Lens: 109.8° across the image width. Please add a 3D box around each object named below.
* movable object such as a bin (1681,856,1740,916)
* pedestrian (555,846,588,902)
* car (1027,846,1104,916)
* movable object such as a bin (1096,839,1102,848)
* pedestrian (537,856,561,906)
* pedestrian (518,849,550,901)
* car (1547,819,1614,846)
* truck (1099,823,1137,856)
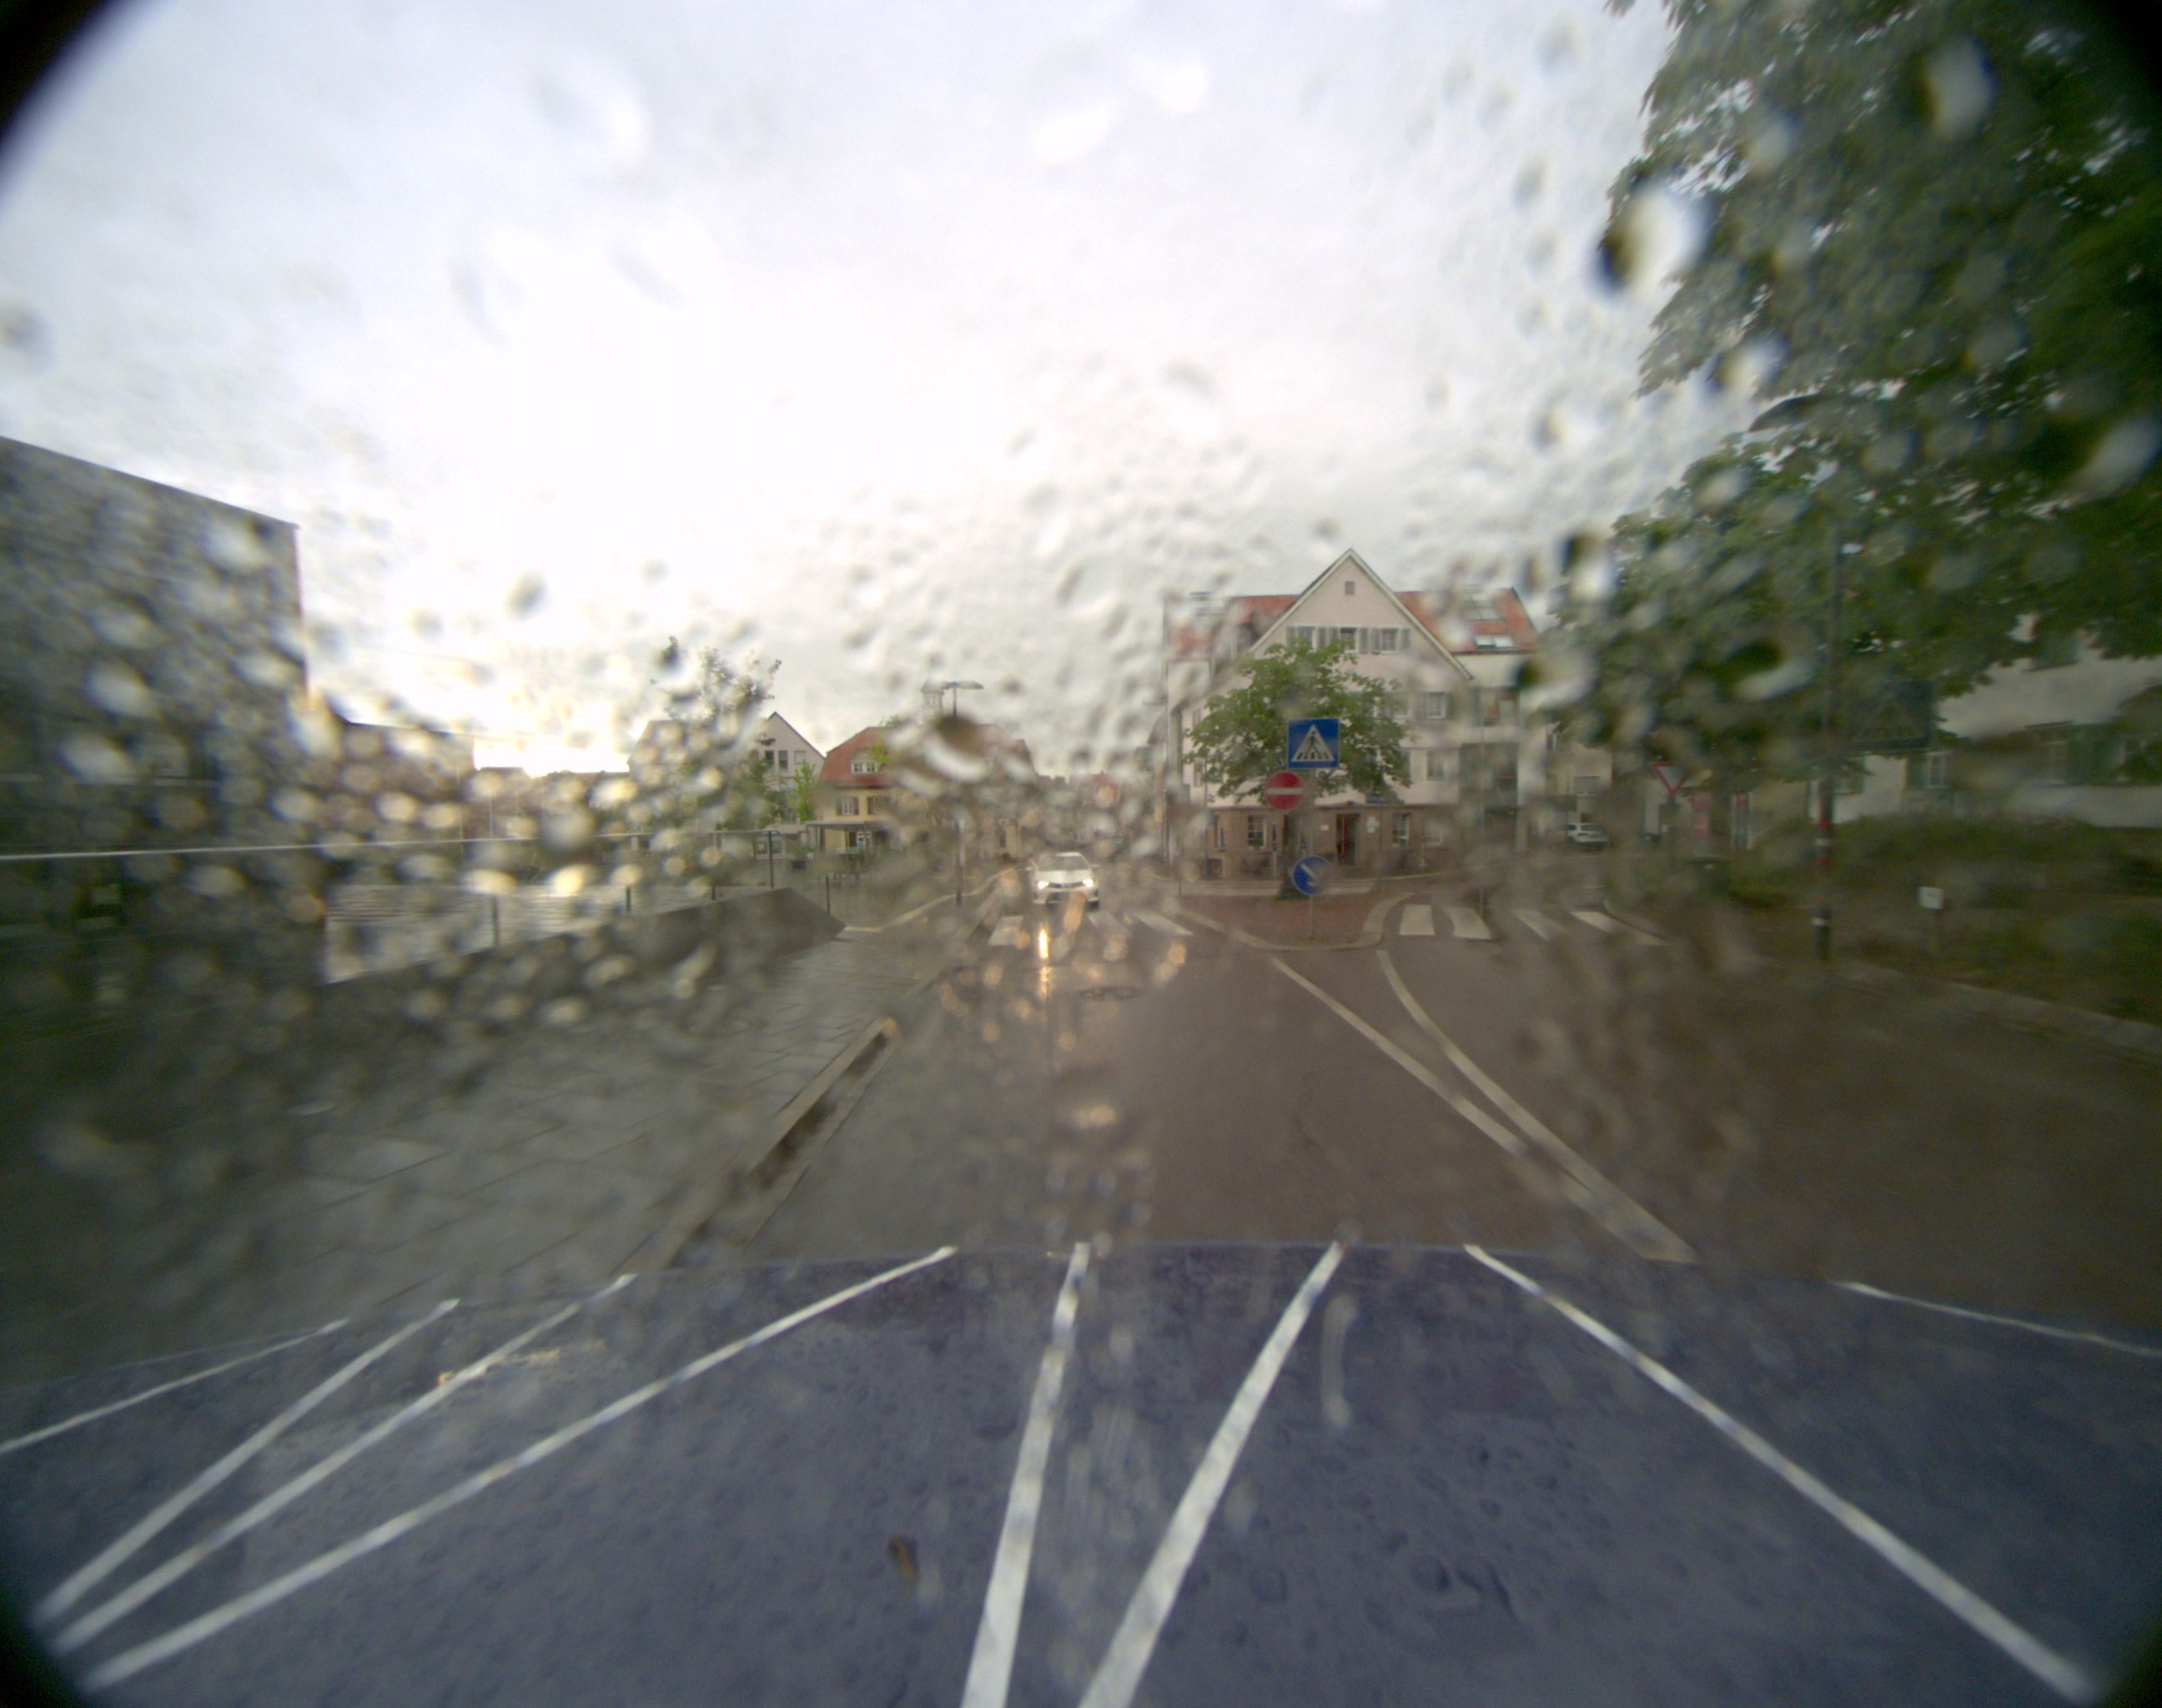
[{"bbox_3d":[11.679,0.575,14.113,0.634,1.053,0.699,1,3,23],"label":"movable object such as a bin"},{"bbox_3d":[-25.002,0.949,37.288,1.054,2.669,0.833,1,3,18],"label":"pedestrian"},{"bbox_3d":[-0.372,0.643,21.219,1.868,1.578,4.612,-2,2,1],"label":"car"},{"bbox_3d":[2.314,-1.331,96.352,0.697,1.071,0.644,-3,2,2],"label":"movable object such as a bin"},{"bbox_3d":[-26.221,1.312,37.435,0.735,2.426,0.570,1,3,14],"label":"pedestrian"},{"bbox_3d":[-26.351,0.997,36.598,0.942,2.426,0.777,1,3,16],"label":"pedestrian"},{"bbox_3d":[30.520,-1.322,46.545,1.828,1.613,3.889,0,2,6],"label":"car"},{"bbox_3d":[3.031,-1.182,64.427,2.406,2.579,6.480,-1,0,-4],"label":"truck"}]
